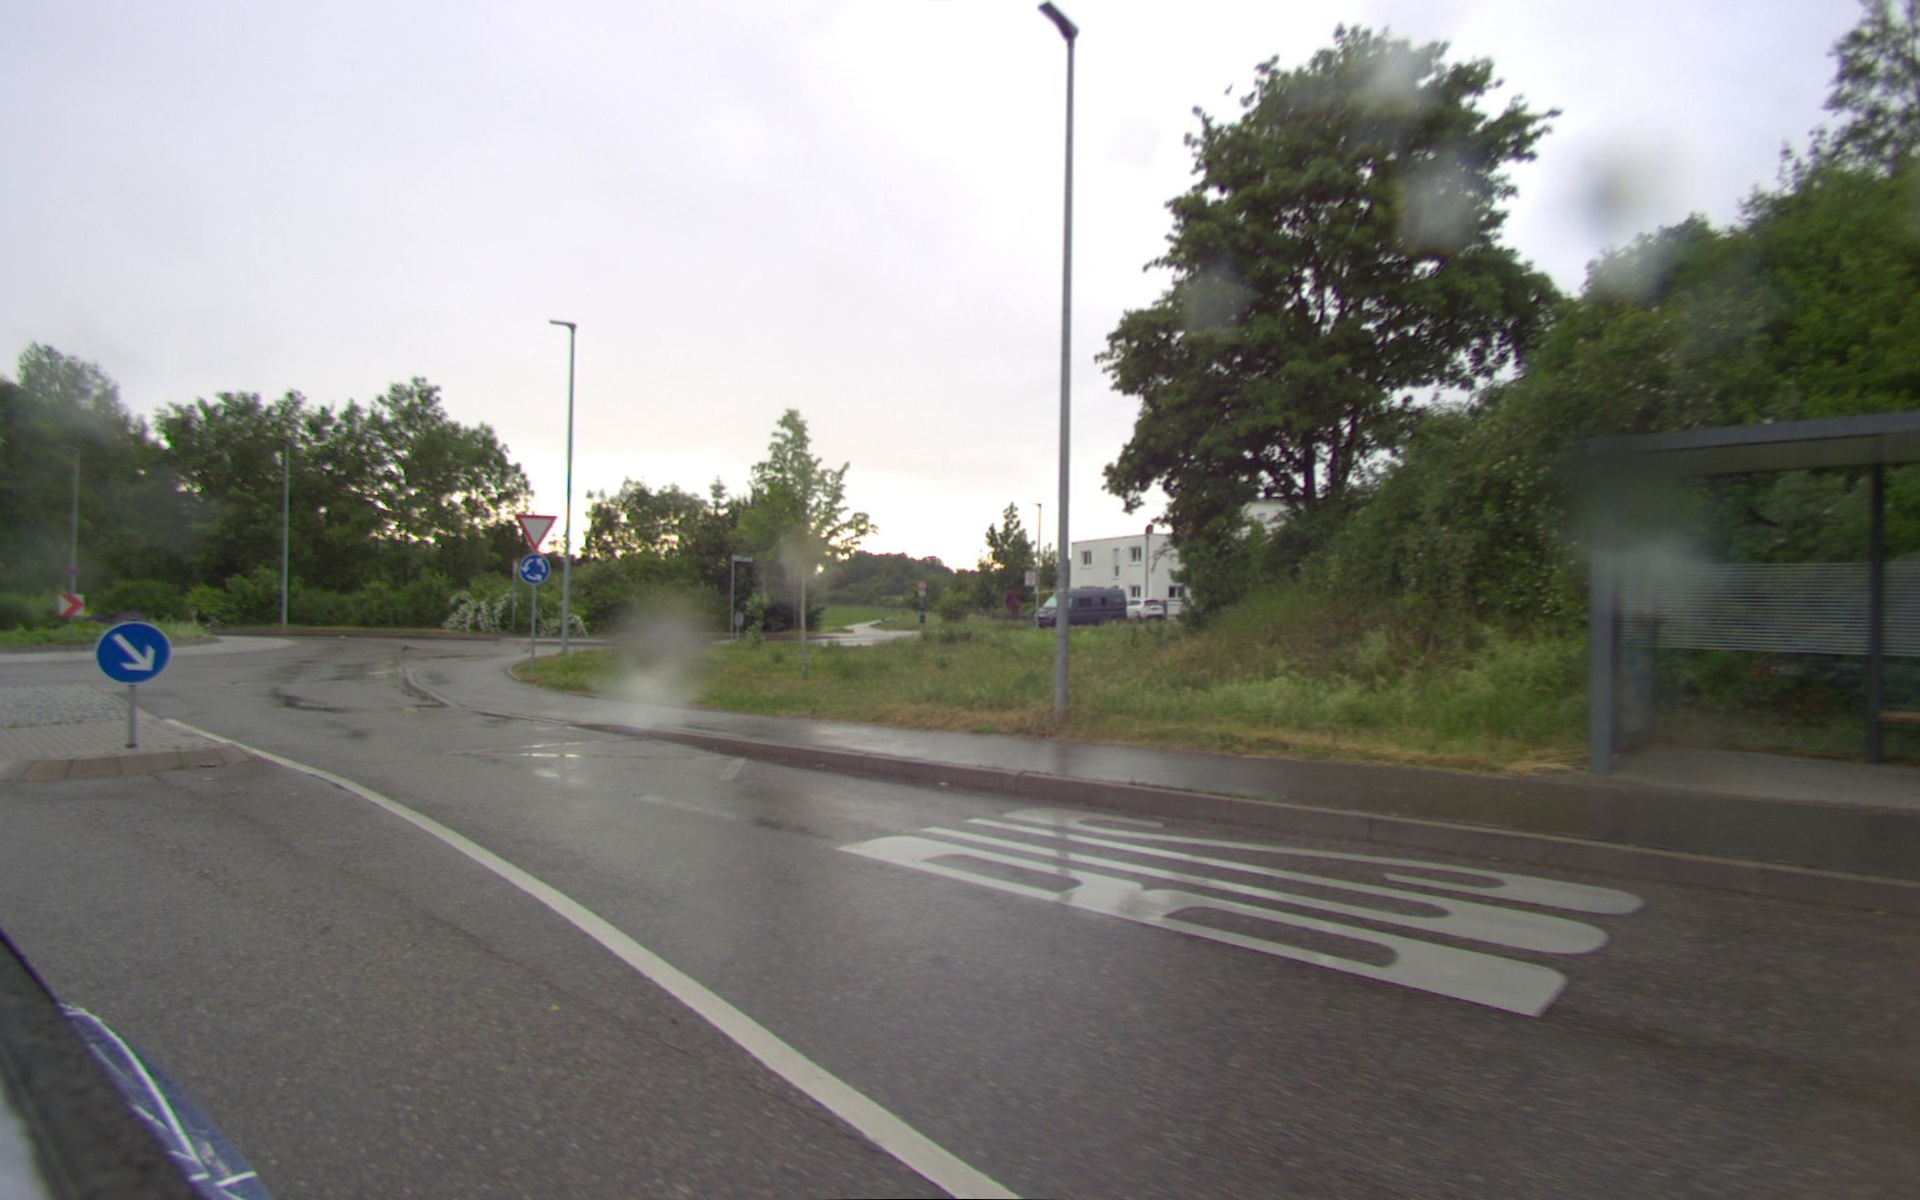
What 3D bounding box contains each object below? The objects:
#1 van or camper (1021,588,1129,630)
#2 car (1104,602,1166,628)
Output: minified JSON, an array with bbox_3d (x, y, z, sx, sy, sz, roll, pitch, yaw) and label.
[{"bbox_3d":[7.104,0.514,62.565,6.100,2.512,2.540,0,0,-21],"label":"van or camper"},{"bbox_3d":[12.171,1.055,70.615,1.986,1.761,4.686,0,-1,-24],"label":"car"}]
